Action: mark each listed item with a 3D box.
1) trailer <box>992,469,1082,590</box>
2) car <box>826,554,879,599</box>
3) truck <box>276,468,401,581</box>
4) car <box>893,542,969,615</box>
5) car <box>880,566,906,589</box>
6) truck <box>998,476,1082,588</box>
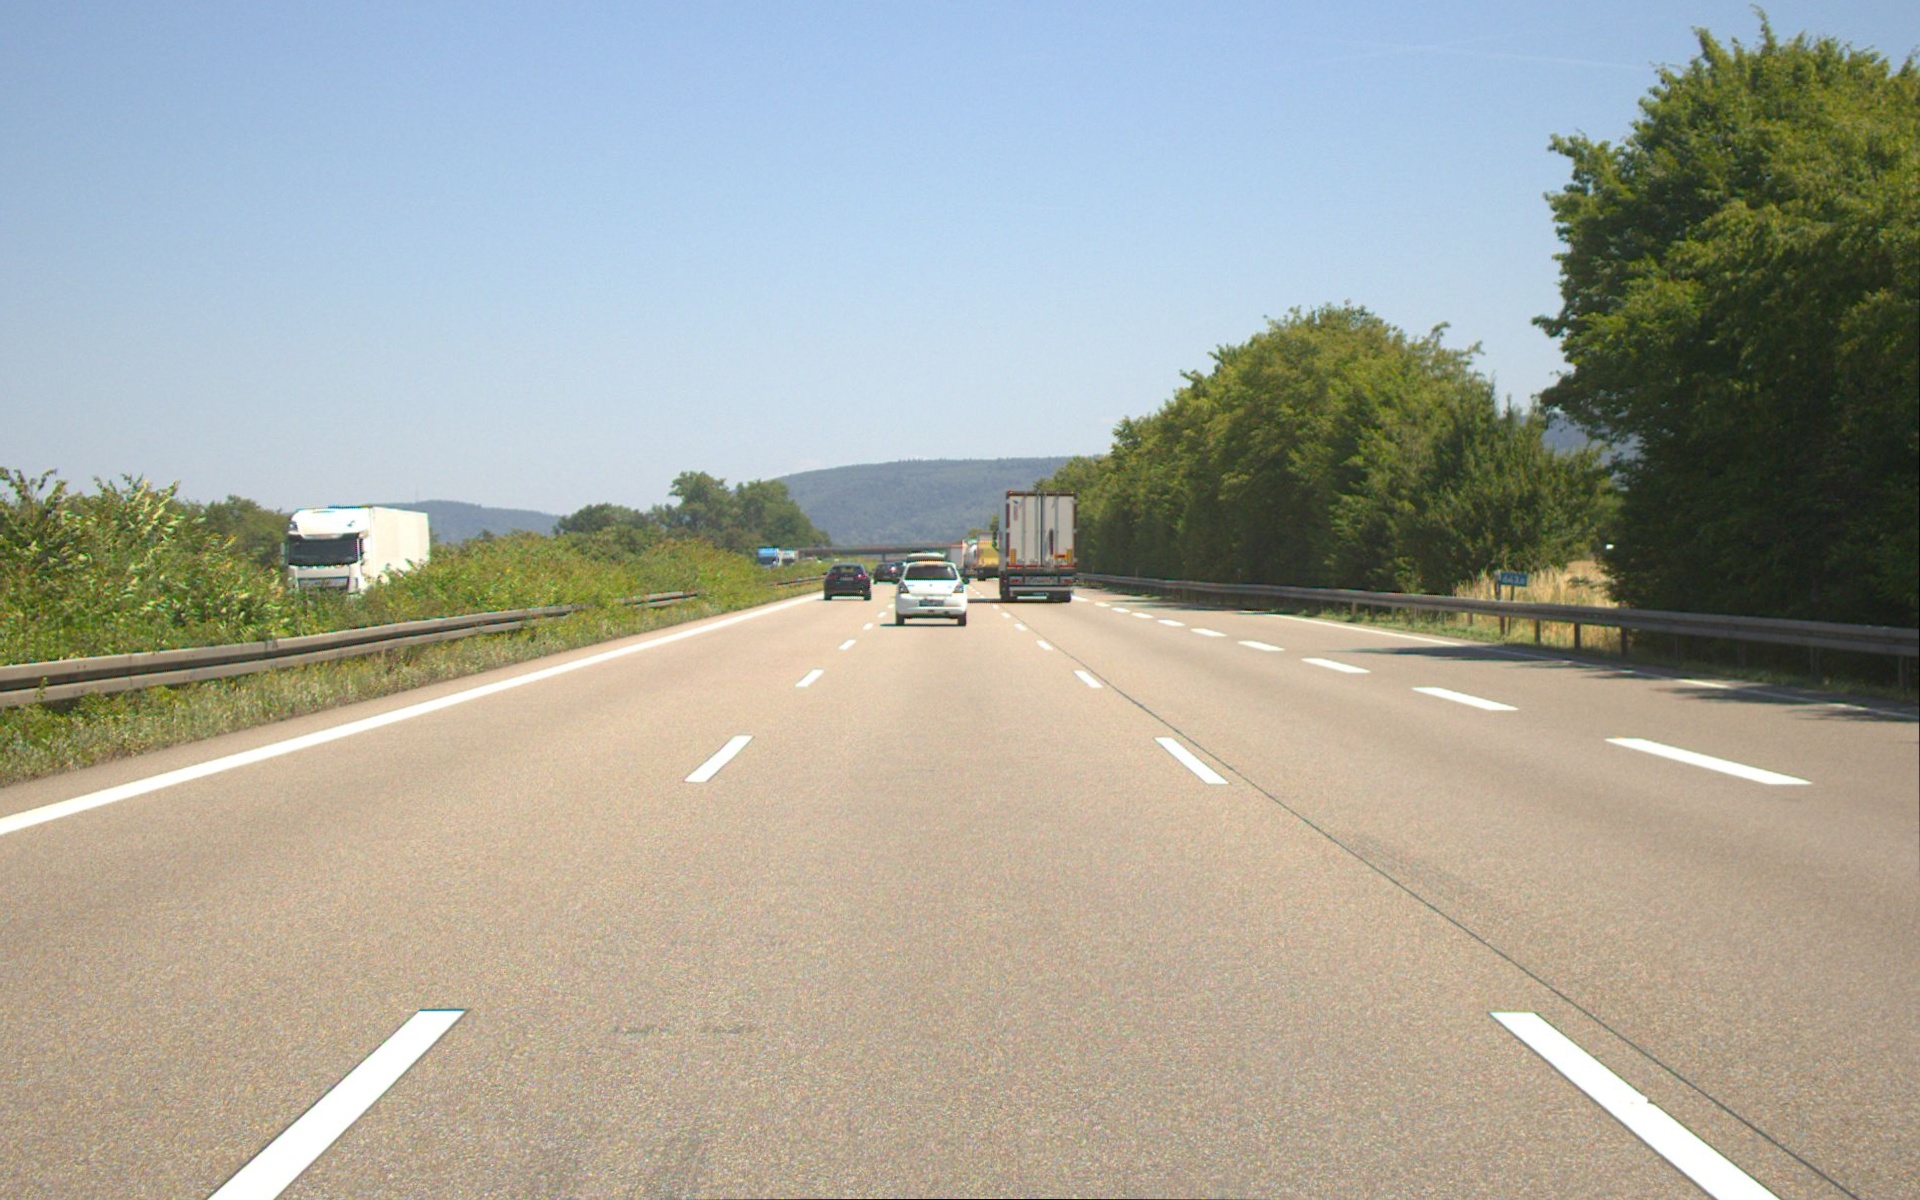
[{"bbox_3d":[3.021,-2.639,131.483,3.218,4.330,13.628,1,1,2],"label":"trailer"},{"bbox_3d":[-4.174,-0.925,133.682,1.993,1.706,4.000,1,1,-1],"label":"car"},{"bbox_3d":[-21.187,-2.551,117.528,3.179,3.686,6.036,1,1,-1],"label":"truck"},{"bbox_3d":[-0.712,-0.538,82.041,1.732,1.678,4.000,-1,1,-1],"label":"car"},{"bbox_3d":[-4.630,-1.560,238.959,1.795,1.545,4.000,0,0,-1],"label":"car"},{"bbox_3d":[3.257,-2.719,138.835,3.218,4.330,6.590,1,1,2],"label":"truck"}]
